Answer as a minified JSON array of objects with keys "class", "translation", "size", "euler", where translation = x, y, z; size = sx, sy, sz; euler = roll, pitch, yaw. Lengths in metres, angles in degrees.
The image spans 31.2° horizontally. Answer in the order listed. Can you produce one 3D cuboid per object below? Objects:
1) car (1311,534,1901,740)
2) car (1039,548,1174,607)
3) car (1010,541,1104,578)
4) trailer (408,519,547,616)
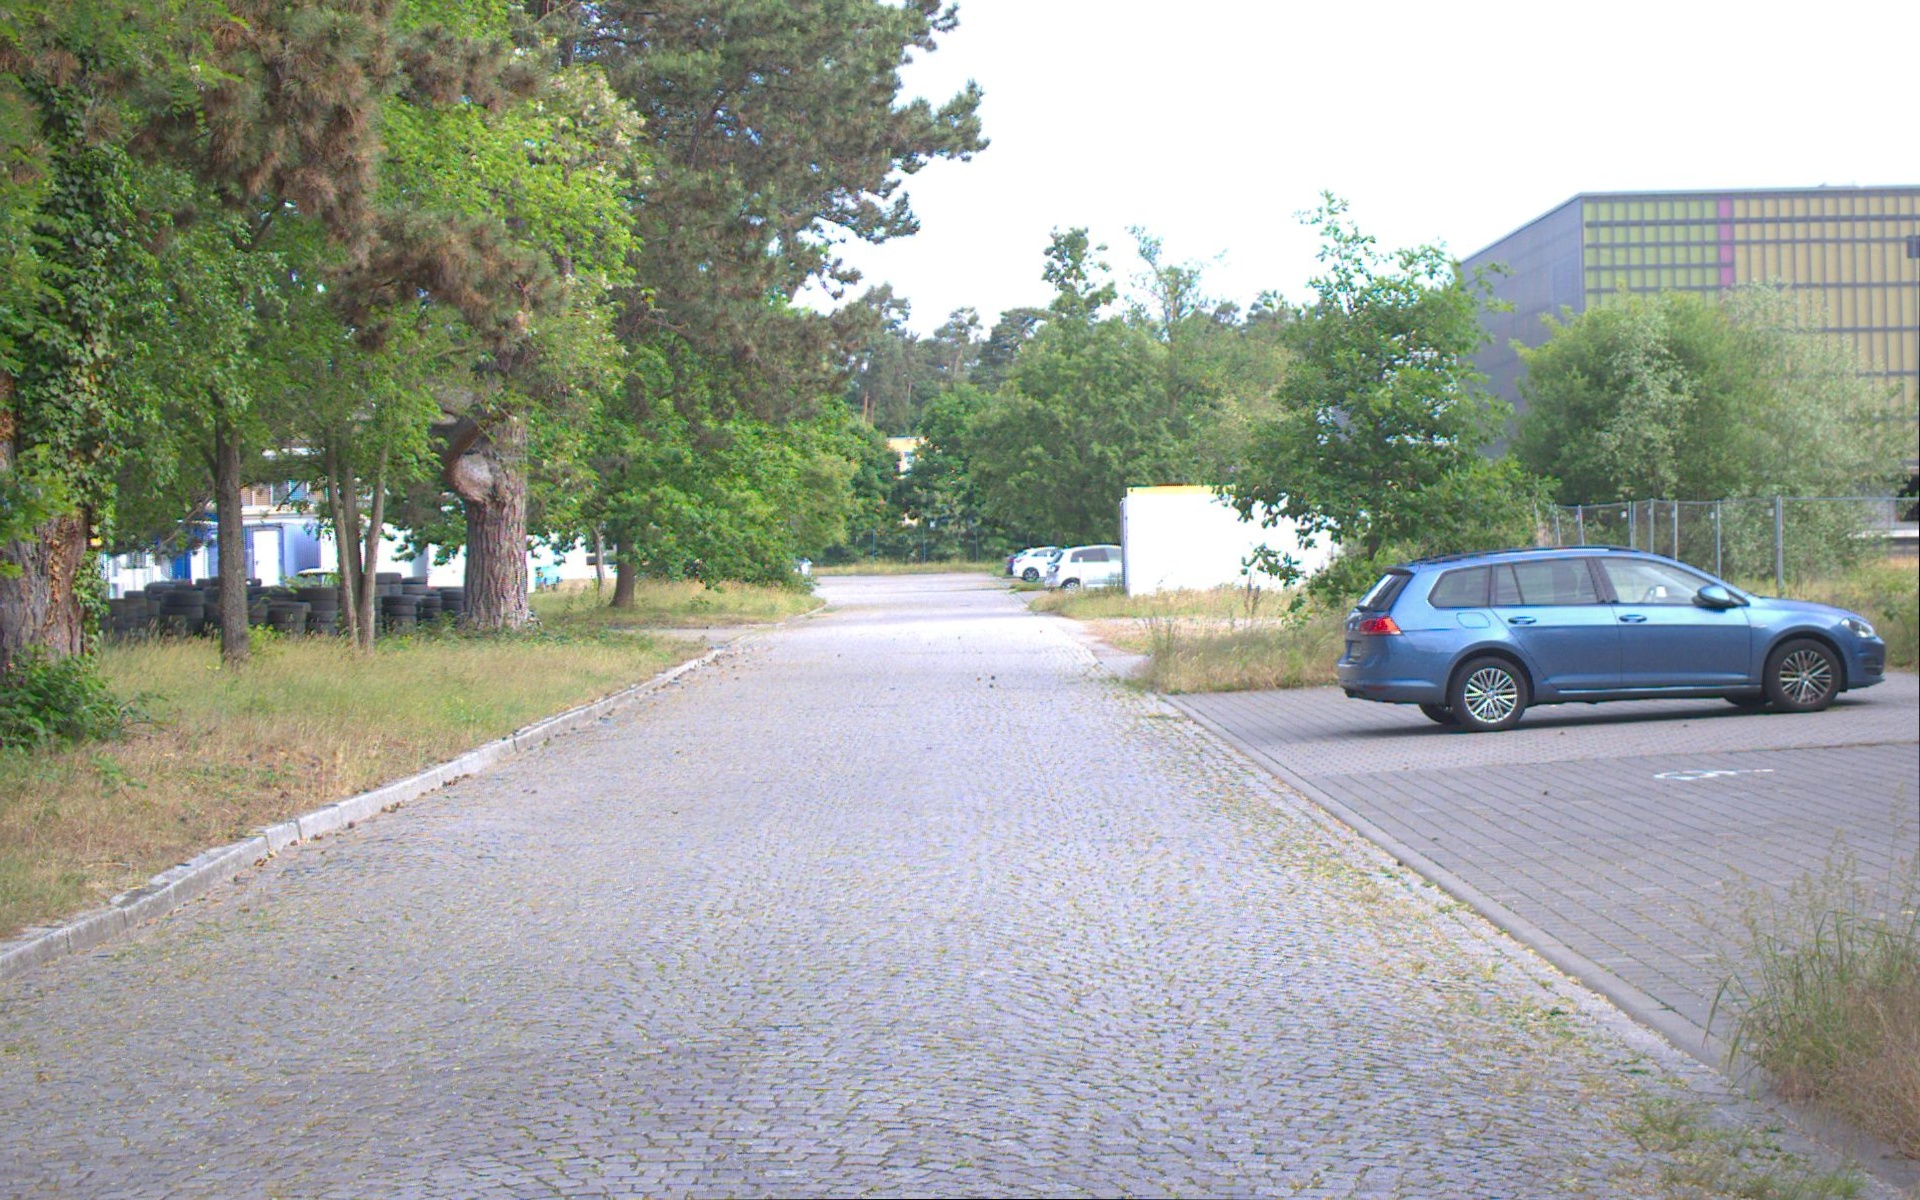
[{"class":"car","translation":[5.395,0.288,29.060],"size":[4.521,1.438,1.824],"euler":[-3,1,-3]},{"class":"car","translation":[4.361,-0.676,102.597],"size":[3.849,1.649,1.686],"euler":[-1,1,-3]},{"class":"car","translation":[4.192,-1.739,148.743],"size":[4.025,1.496,1.548],"euler":[-1,1,1]},{"class":"trailer","translation":[-16.092,-1.109,115.265],"size":[3.159,3.057,8.784],"euler":[-1,1,2]}]
